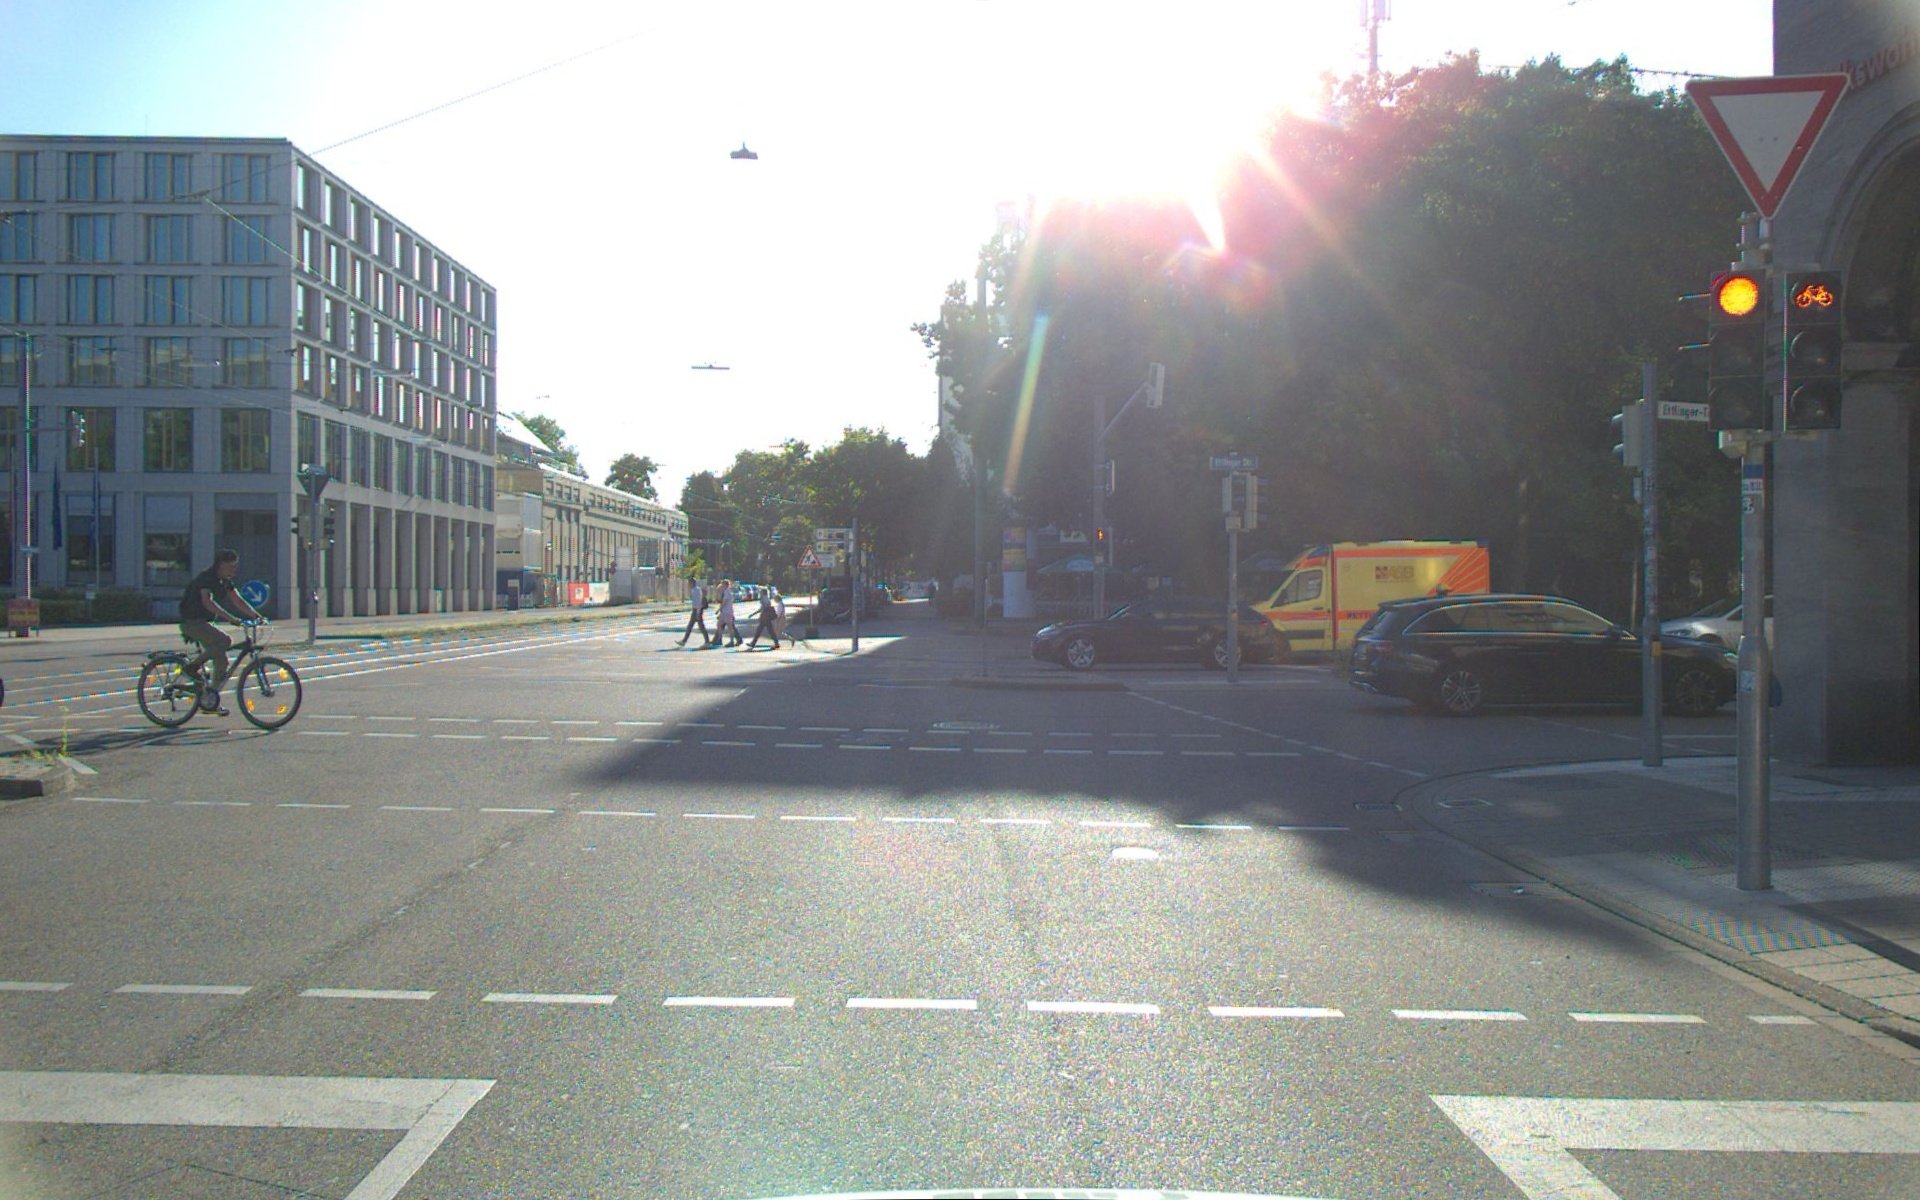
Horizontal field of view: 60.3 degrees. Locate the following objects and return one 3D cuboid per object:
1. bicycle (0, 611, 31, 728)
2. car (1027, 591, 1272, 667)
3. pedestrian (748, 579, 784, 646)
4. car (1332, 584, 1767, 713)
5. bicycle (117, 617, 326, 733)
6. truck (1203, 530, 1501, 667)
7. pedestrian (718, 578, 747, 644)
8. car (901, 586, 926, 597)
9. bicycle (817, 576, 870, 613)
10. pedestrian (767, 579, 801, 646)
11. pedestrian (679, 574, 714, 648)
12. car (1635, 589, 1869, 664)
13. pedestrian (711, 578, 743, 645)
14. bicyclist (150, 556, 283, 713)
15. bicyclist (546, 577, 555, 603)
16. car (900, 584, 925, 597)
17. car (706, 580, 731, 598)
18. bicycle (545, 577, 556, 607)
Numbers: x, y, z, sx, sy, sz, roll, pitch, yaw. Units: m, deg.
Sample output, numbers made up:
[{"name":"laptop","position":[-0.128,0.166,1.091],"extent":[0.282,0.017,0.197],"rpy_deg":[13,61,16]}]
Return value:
[{"name":"bicycle","position":[-10.760,0.720,17.131],"extent":[1.834,1.178,0.767],"rpy_deg":[0,1,2]},{"name":"car","position":[3.723,0.595,33.034],"extent":[4.639,1.440,1.999],"rpy_deg":[1,-2,-1]},{"name":"pedestrian","position":[-5.314,0.339,45.313],"extent":[0.852,1.835,0.664],"rpy_deg":[0,0,4]},{"name":"car","position":[7.431,0.584,21.283],"extent":[4.838,1.537,2.211],"rpy_deg":[0,1,2]},{"name":"bicycle","position":[-7.487,0.748,16.816],"extent":[1.775,1.104,0.767],"rpy_deg":[1,2,3]},{"name":"truck","position":[9.021,-0.038,38.622],"extent":[6.335,3.068,2.725],"rpy_deg":[0,0,0]},{"name":"pedestrian","position":[-6.381,0.296,46.413],"extent":[0.723,1.835,0.532],"rpy_deg":[0,0,4]},{"name":"car","position":[-5.911,-1.074,211.124],"extent":[3.155,1.285,1.371],"rpy_deg":[1,0,-6]},{"name":"bicycle","position":[-5.711,-0.251,81.401],"extent":[2.495,1.774,1.037],"rpy_deg":[1,0,-1]},{"name":"pedestrian","position":[-4.875,0.336,45.838],"extent":[0.851,1.835,0.532],"rpy_deg":[0,0,4]},{"name":"pedestrian","position":[-7.055,0.285,44.246],"extent":[0.785,1.951,0.637],"rpy_deg":[0,0,4]},{"name":"car","position":[15.937,0.523,33.383],"extent":[3.961,1.459,1.631],"rpy_deg":[0,-1,-2]},{"name":"pedestrian","position":[-6.407,0.318,45.512],"extent":[0.723,1.835,0.716],"rpy_deg":[0,0,4]},{"name":"bicyclist","position":[-7.541,0.336,16.809],"extent":[0.981,1.538,0.767],"rpy_deg":[0,2,3]},{"name":"bicyclist","position":[-32.239,-0.778,130.226],"extent":[0.559,2.059,0.761],"rpy_deg":[0,0,-2]},{"name":"car","position":[-6.116,-1.178,213.358],"extent":[3.152,1.616,1.445],"rpy_deg":[1,0,-5]},{"name":"car","position":[-22.731,-1.005,155.947],"extent":[1.856,1.635,4.498],"rpy_deg":[0,0,-3]},{"name":"bicycle","position":[-32.230,-0.638,130.186],"extent":[0.559,2.336,1.422],"rpy_deg":[0,0,-2]}]
